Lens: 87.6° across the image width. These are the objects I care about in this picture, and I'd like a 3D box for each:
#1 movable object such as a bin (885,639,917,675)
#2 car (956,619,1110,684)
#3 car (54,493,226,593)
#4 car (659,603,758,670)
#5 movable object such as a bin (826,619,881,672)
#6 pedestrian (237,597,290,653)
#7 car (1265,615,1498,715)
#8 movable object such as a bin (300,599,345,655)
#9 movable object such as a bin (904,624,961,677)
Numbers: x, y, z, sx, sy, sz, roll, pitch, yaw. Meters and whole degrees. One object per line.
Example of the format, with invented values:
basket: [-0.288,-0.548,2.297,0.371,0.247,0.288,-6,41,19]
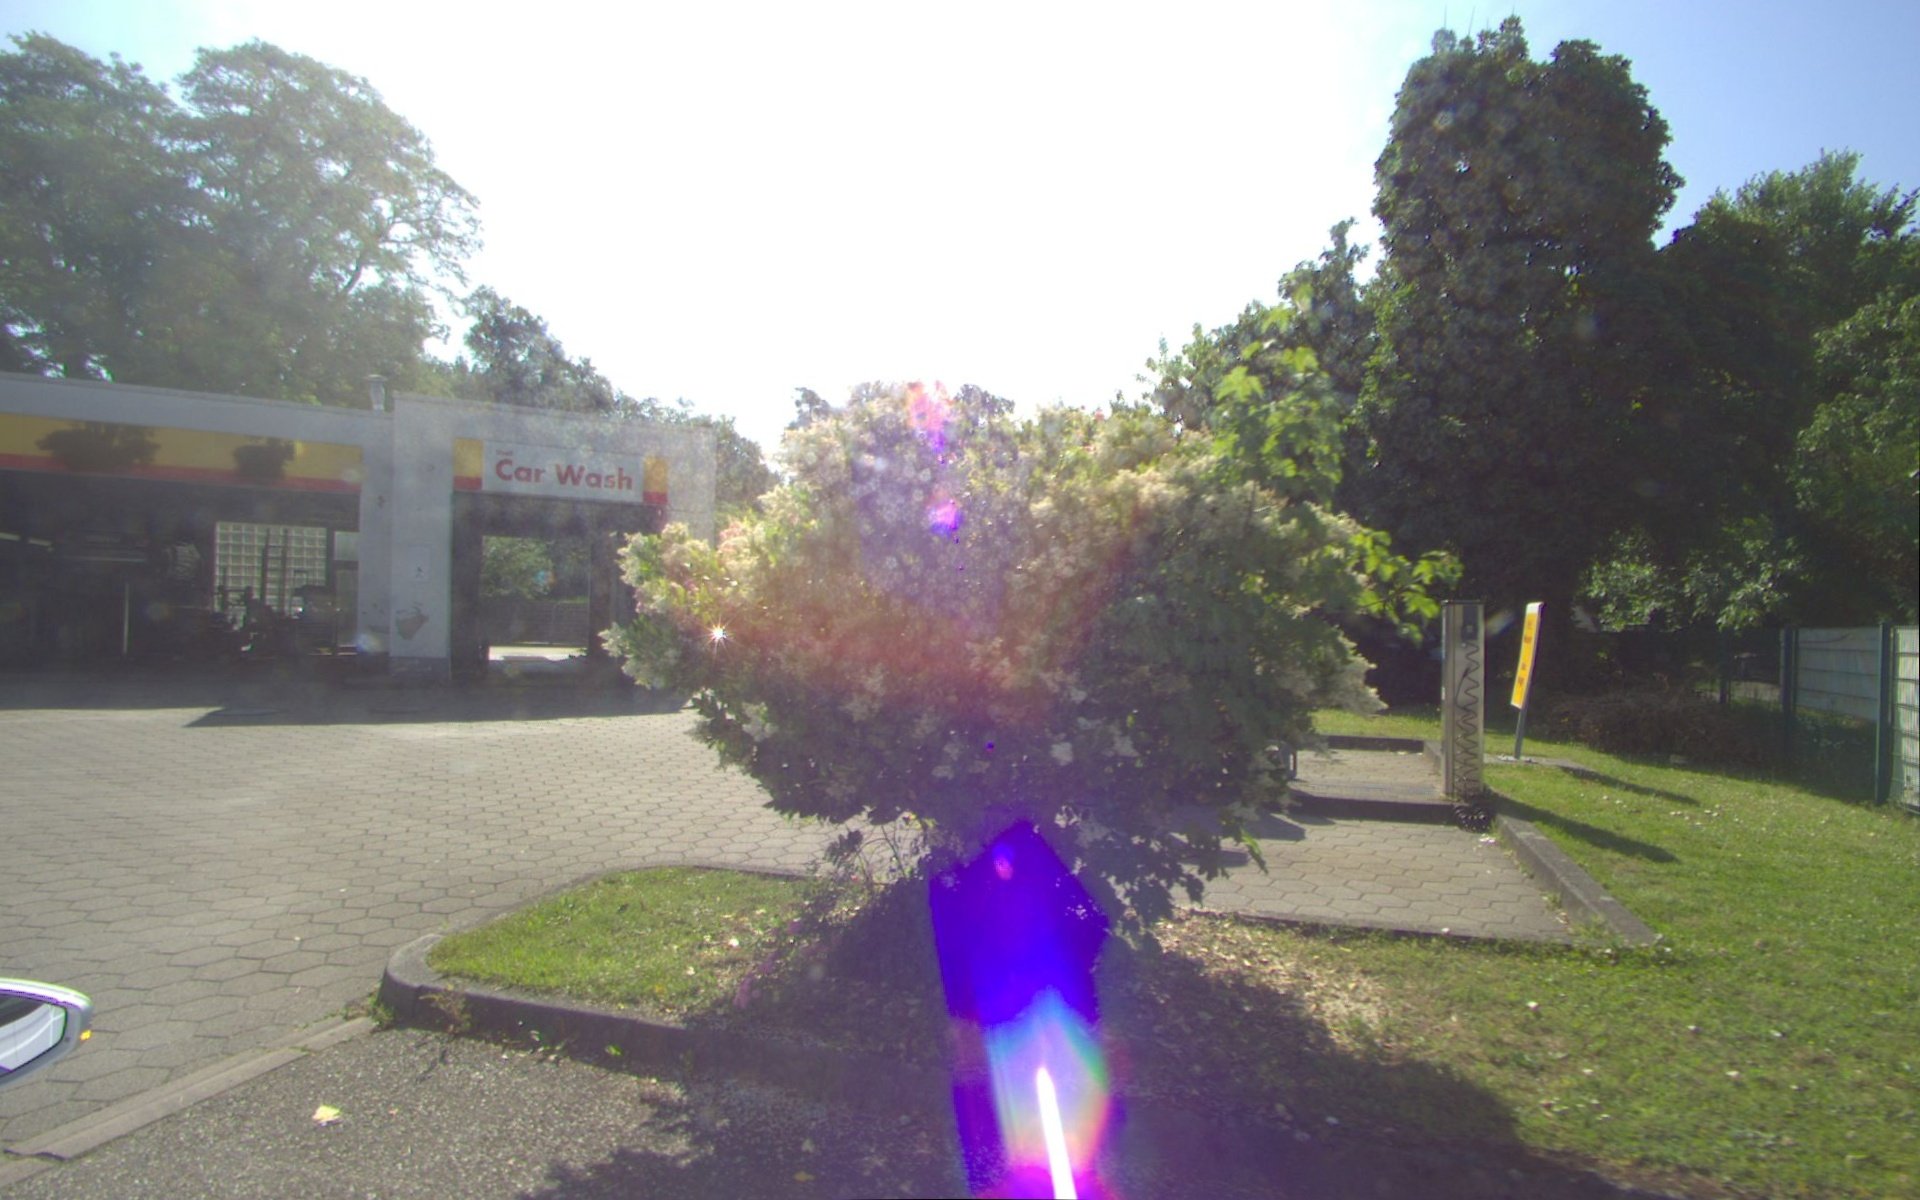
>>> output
movable object such as a bin: [-1.557,1.499,26.498,0.485,0.922,0.864,1,-1,23]
car: [1.829,1.292,25.184,3.457,1.457,1.676,2,1,-27]
car: [-15.772,-0.998,19.489,1.626,1.504,3.986,2,-3,-25]
car: [-6.545,0.953,25.842,1.702,1.595,3.378,2,-3,-28]
movable object such as a bin: [-2.857,1.216,26.840,1.212,1.342,0.849,2,-1,16]
pedestrian: [-15.508,0.559,22.317,0.853,1.213,0.740,2,-2,-29]
car: [7.291,1.094,17.261,3.884,1.531,1.675,2,-1,-30]
movable object such as a bin: [-14.758,0.633,23.186,0.787,1.252,0.542,1,-2,-26]
movable object such as a bin: [-0.714,1.314,26.122,1.214,1.306,0.864,1,-1,25]
